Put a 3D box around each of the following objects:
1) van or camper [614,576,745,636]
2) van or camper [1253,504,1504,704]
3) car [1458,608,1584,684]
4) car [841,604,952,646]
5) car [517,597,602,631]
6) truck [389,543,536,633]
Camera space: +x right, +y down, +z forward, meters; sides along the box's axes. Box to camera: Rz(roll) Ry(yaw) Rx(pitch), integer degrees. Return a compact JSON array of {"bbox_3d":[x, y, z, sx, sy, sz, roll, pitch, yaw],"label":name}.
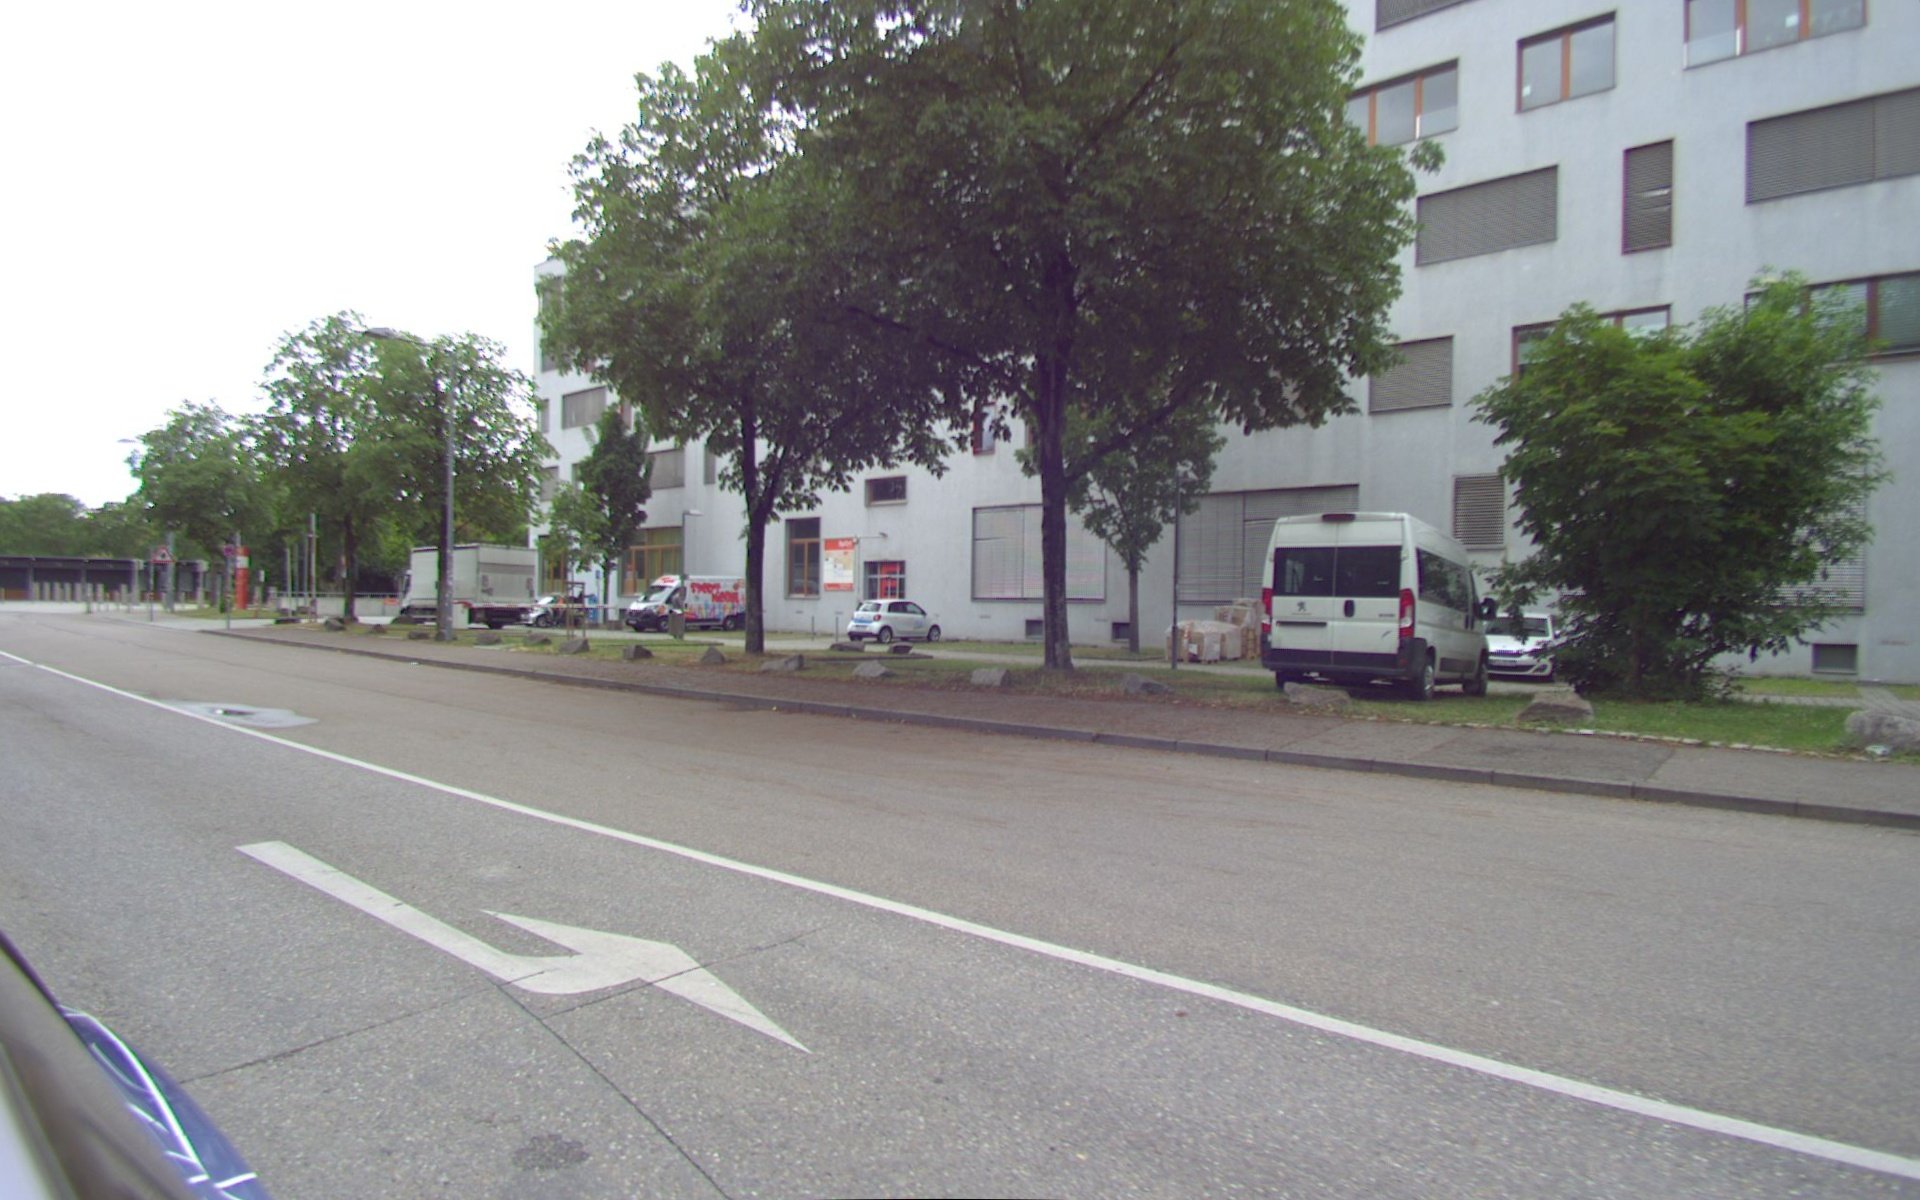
[{"bbox_3d":[-12.186,0.274,44.237,2.255,2.444,5.200,0,-1,39],"label":"van or camper"},{"bbox_3d":[6.398,0.143,15.082,2.154,2.442,5.119,-1,-3,38],"label":"van or camper"},{"bbox_3d":[12.953,0.989,23.238,1.856,1.470,4.023,-1,1,39],"label":"car"},{"bbox_3d":[-2.231,0.859,36.243,1.713,1.429,3.957,0,-1,41],"label":"car"},{"bbox_3d":[-20.240,0.735,51.234,1.655,1.660,3.649,-1,-2,43],"label":"car"},{"bbox_3d":[-22.128,-0.438,44.789,7.829,3.644,2.615,0,-3,38],"label":"truck"}]
